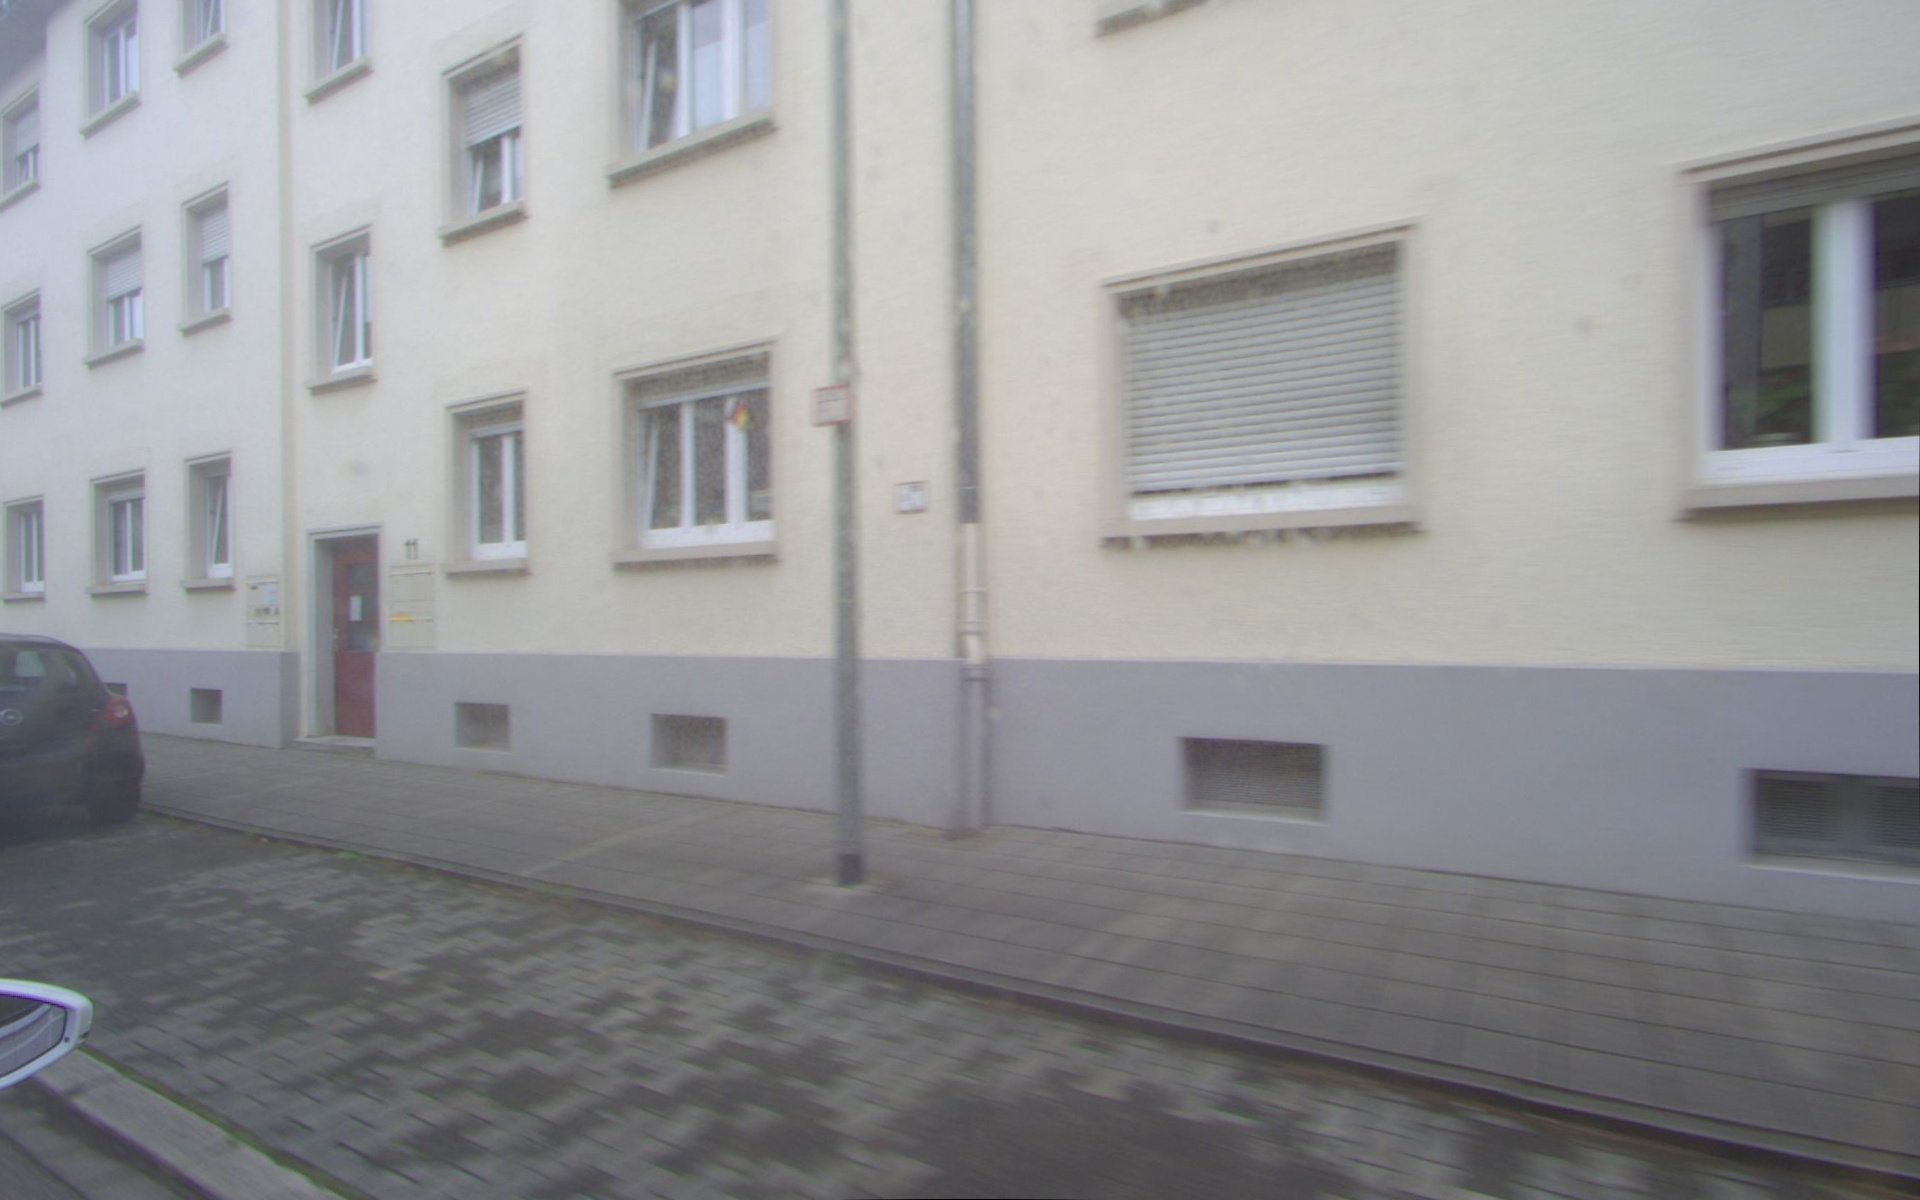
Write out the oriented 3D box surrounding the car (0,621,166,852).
[{"bbox_3d":[-8.097,0.945,7.802,4.001,1.537,1.722,-1,0,31],"label":"car"}]
